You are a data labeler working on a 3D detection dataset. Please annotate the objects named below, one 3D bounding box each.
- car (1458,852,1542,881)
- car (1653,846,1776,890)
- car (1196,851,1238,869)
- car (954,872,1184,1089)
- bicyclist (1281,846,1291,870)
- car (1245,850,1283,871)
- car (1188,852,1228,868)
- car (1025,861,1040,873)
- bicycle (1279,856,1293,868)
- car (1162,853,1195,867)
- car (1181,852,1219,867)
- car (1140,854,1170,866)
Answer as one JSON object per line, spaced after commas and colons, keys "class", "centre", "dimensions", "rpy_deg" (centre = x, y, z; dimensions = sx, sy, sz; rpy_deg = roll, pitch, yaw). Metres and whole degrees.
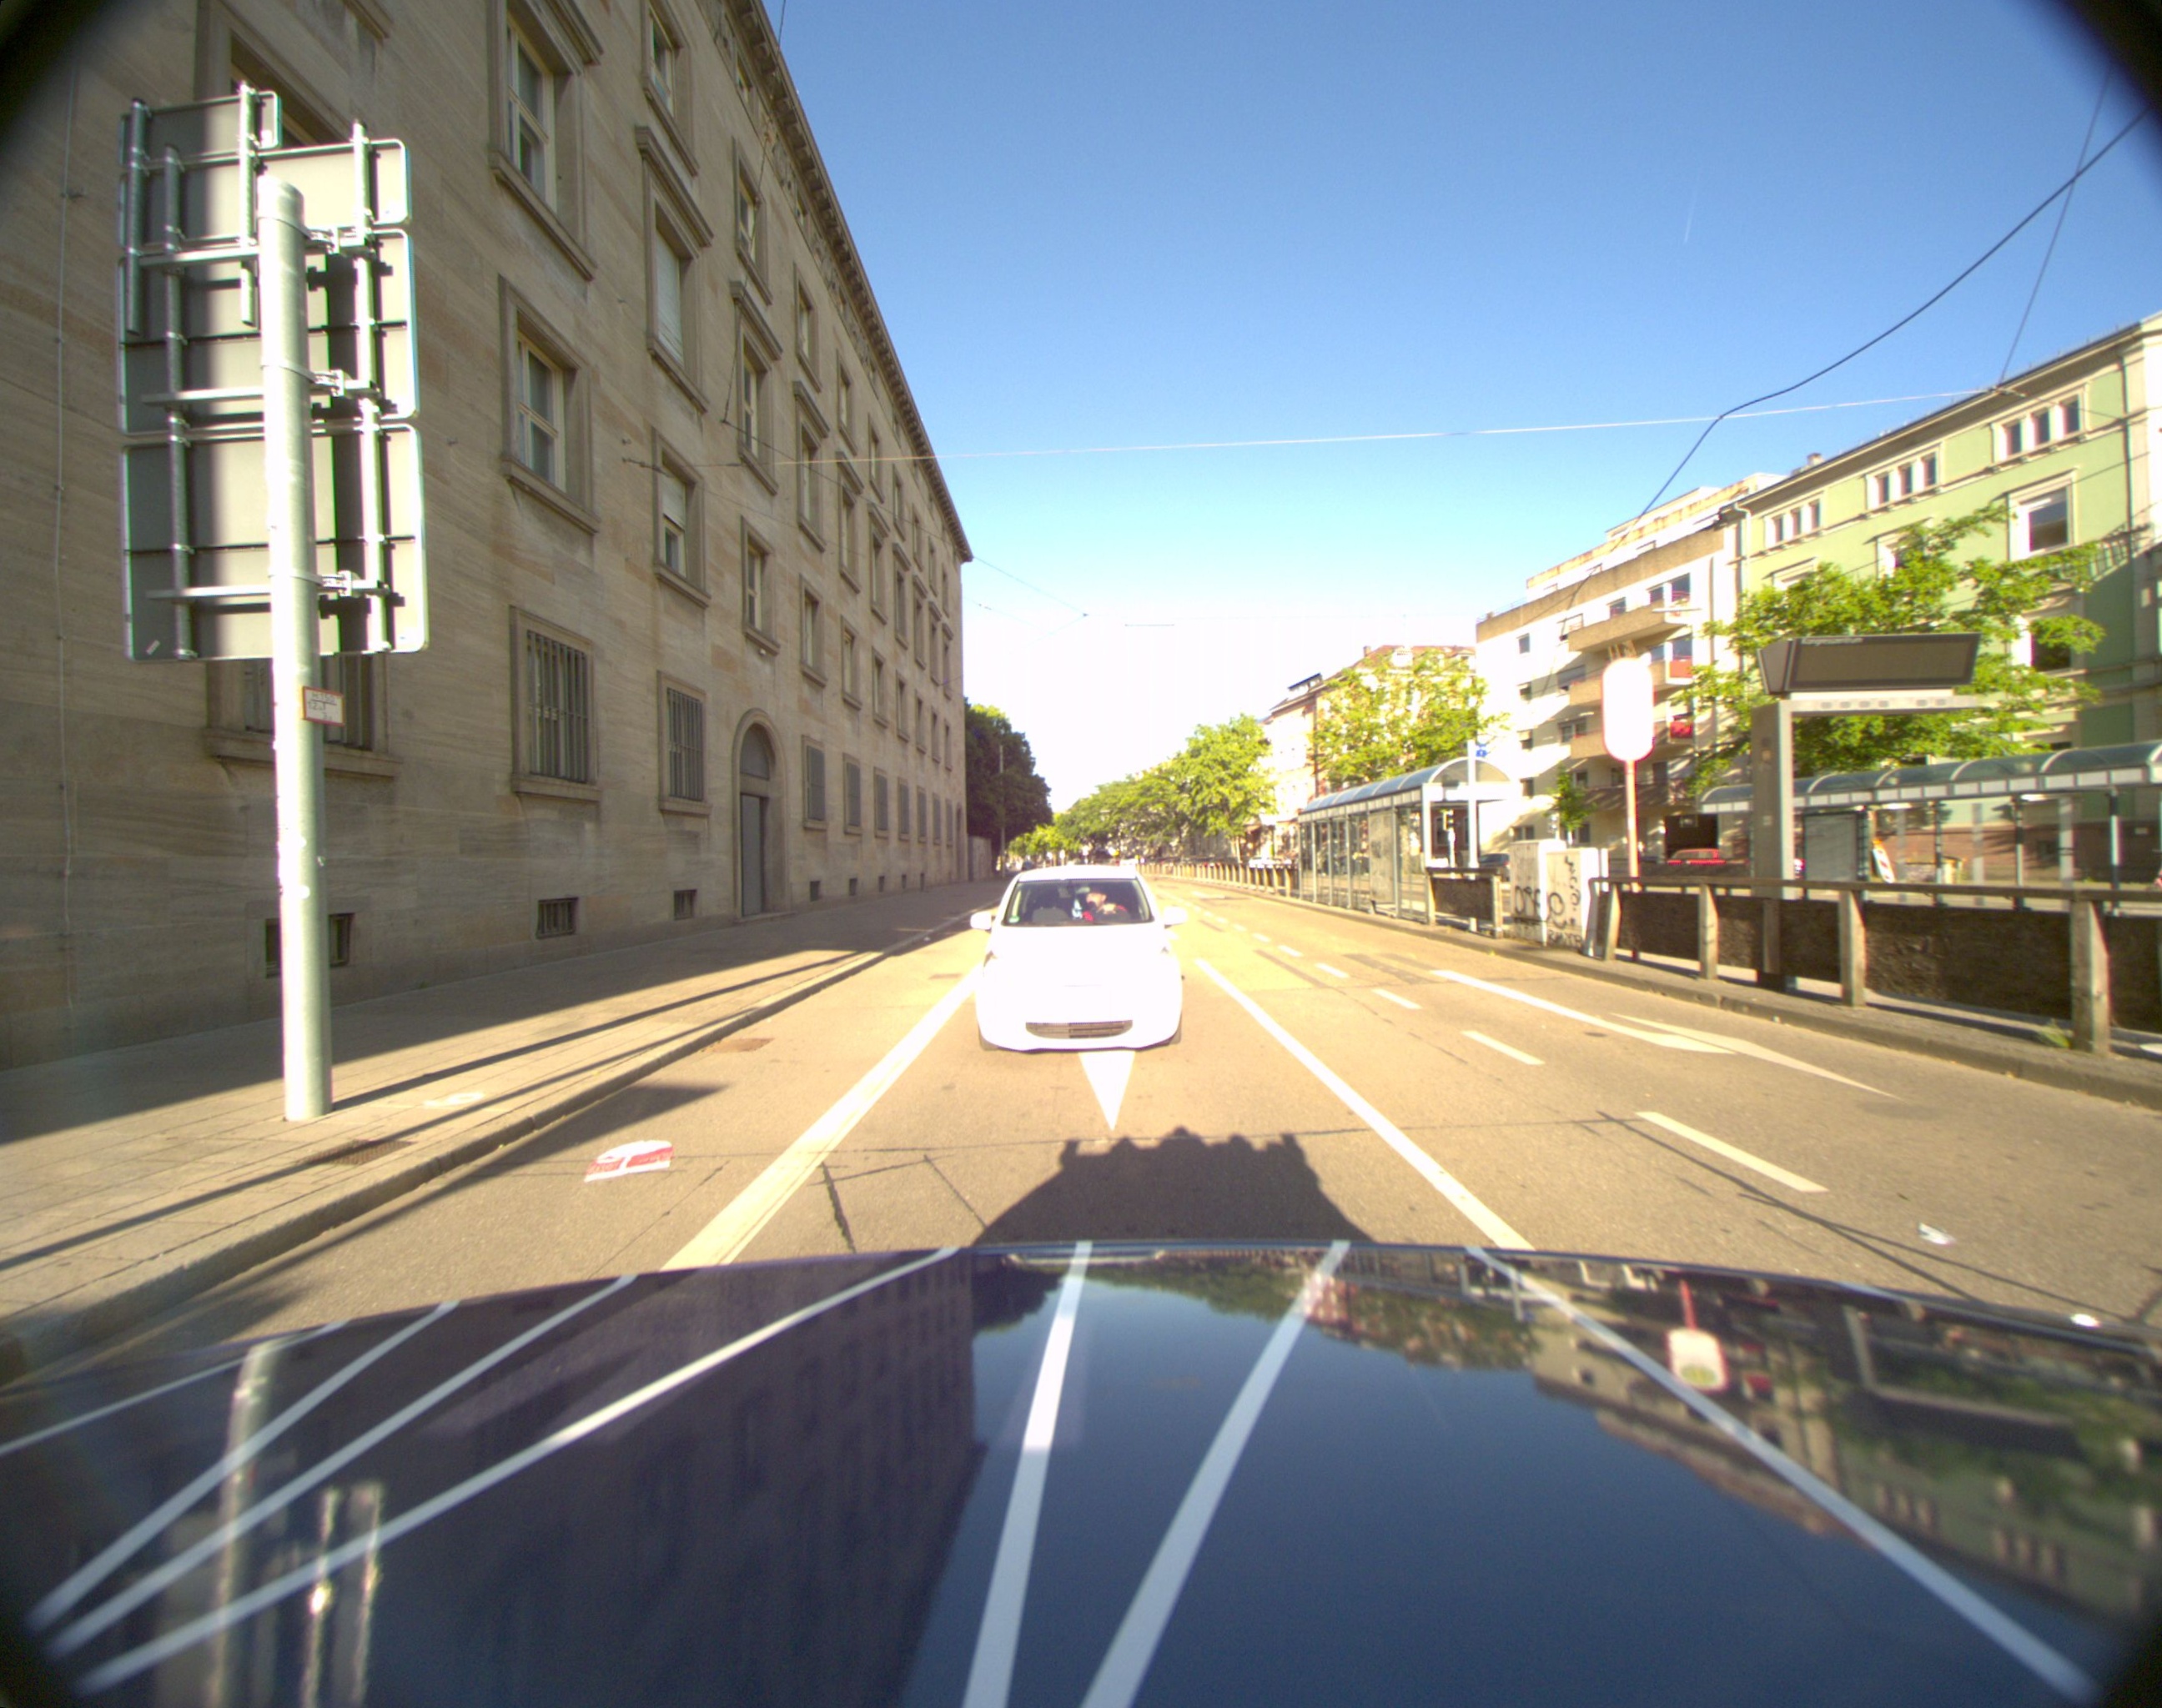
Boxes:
{"class": "car", "centre": [20.931, 0.609, 38.104], "dimensions": [1.615, 1.387, 3.516], "rpy_deg": [-1, 0, -19]}
{"class": "car", "centre": [24.010, 0.506, 28.816], "dimensions": [3.796, 1.526, 1.772], "rpy_deg": [-1, 0, -17]}
{"class": "car", "centre": [13.755, 0.609, 76.872], "dimensions": [3.996, 1.674, 2.001], "rpy_deg": [-1, 0, 4]}
{"class": "car", "centre": [-0.059, 0.948, 7.250], "dimensions": [1.612, 1.450, 3.668], "rpy_deg": [-1, 0, 1]}
{"class": "bicyclist", "centre": [15.331, 0.273, 56.852], "dimensions": [0.536, 1.751, 0.770], "rpy_deg": [-1, 2, 1]}
{"class": "car", "centre": [16.415, 0.579, 67.953], "dimensions": [1.994, 1.713, 4.007], "rpy_deg": [-1, 2, 35]}
{"class": "car", "centre": [13.473, 0.622, 81.006], "dimensions": [3.996, 1.674, 2.001], "rpy_deg": [-1, 0, 4]}
{"class": "car", "centre": [-7.911, 2.109, 124.294], "dimensions": [2.000, 1.761, 3.997], "rpy_deg": [-1, 0, -9]}
{"class": "bicycle", "centre": [15.345, 0.606, 56.883], "dimensions": [0.536, 0.783, 1.852], "rpy_deg": [-1, 2, 1]}
{"class": "car", "centre": [11.567, 0.720, 90.371], "dimensions": [3.864, 1.583, 2.001], "rpy_deg": [-1, 0, 5]}
{"class": "car", "centre": [13.283, 0.620, 84.810], "dimensions": [3.996, 1.674, 2.001], "rpy_deg": [-1, 0, 4]}
{"class": "car", "centre": [9.703, 0.774, 100.000], "dimensions": [3.864, 1.583, 2.001], "rpy_deg": [-1, 0, 4]}
